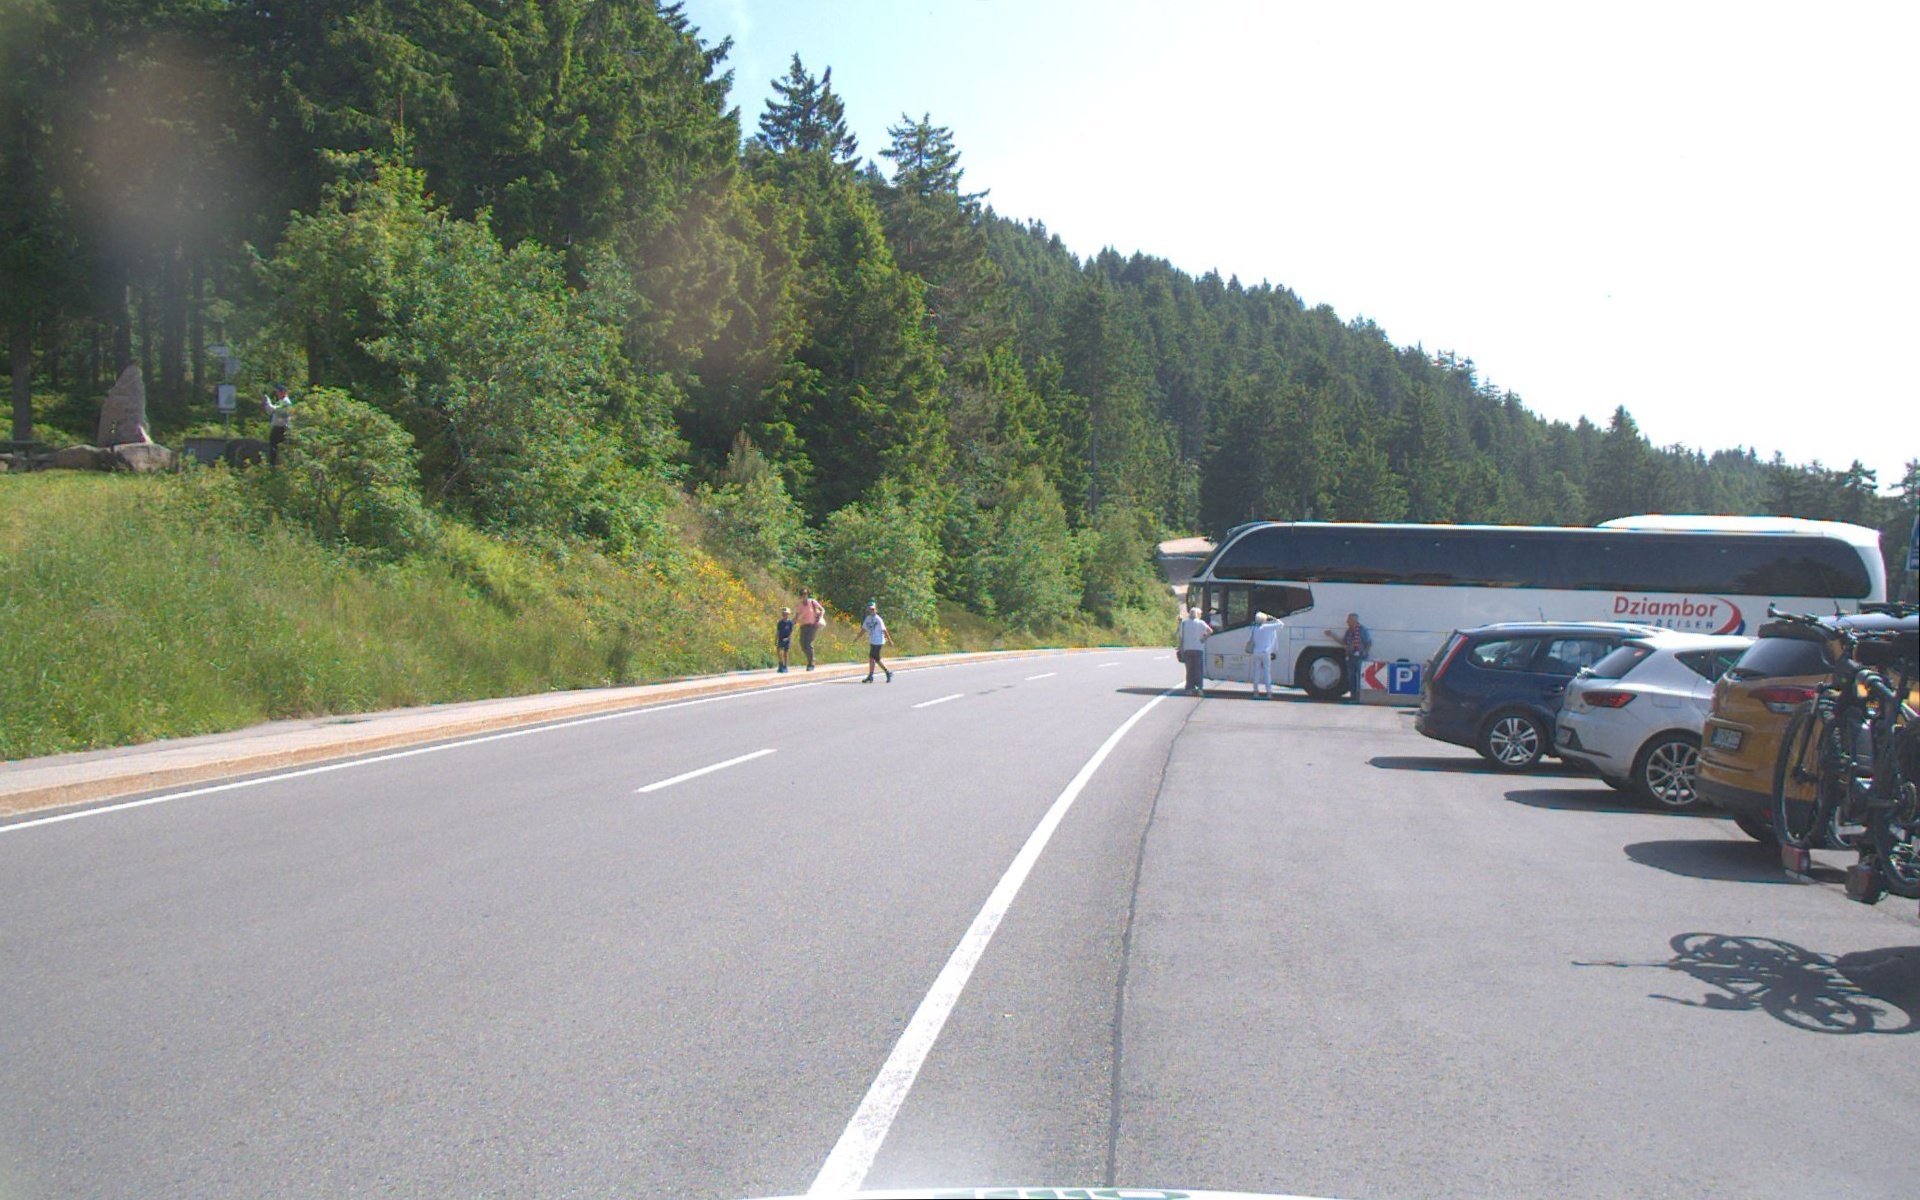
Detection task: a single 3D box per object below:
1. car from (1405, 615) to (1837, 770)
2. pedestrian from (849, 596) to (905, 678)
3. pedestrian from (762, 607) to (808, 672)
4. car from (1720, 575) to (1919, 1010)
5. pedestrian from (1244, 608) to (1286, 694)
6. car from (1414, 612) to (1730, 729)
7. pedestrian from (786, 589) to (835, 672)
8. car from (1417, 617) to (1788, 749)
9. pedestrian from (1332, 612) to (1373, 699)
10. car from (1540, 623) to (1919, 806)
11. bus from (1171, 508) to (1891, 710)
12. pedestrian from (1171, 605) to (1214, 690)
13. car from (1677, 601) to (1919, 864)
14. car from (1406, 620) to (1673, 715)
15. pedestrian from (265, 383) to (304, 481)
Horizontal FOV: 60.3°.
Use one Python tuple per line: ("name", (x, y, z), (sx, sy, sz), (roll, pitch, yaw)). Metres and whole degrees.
("car", (6.872, 0.933, 17.560), (3.902, 1.474, 1.862), (1, 0, 6))
("pedestrian", (-1.657, 0.723, 32.933), (0.844, 1.613, 0.810), (1, 0, -29))
("pedestrian", (-3.584, 0.799, 33.877), (0.764, 1.302, 0.737), (1, 0, 7))
("car", (6.222, 0.768, 7.157), (4.927, 1.680, 2.049), (1, 0, 6))
("pedestrian", (5.857, 0.975, 31.735), (0.754, 1.613, 0.773), (1, 0, 13))
("car", (8.671, 0.976, 23.714), (3.902, 1.533, 1.862), (1, 0, 6))
("pedestrian", (-3.144, 0.626, 34.870), (0.848, 1.713, 0.857), (1, 0, 7))
("car", (7.803, 0.979, 20.406), (3.902, 1.474, 1.862), (1, 0, 6))
("pedestrian", (7.497, 1.050, 31.583), (0.753, 1.613, 0.773), (1, 0, 14))
("car", (7.202, 0.942, 14.232), (3.902, 1.422, 1.621), (1, 0, 6))
("bus", (10.786, 0.087, 32.641), (12.816, 3.594, 3.045), (1, 0, 16))
("pedestrian", (4.526, 0.918, 32.143), (0.754, 1.613, 0.773), (1, 0, 13))
("car", (6.956, 0.816, 10.728), (3.902, 1.581, 1.661), (1, 0, 6))
("car", (9.668, 1.106, 27.845), (3.902, 1.474, 1.862), (1, 0, 6))
("pedestrian", (-13.700, -3.394, 33.543), (0.672, 1.911, 0.537), (0, 0, -28))
